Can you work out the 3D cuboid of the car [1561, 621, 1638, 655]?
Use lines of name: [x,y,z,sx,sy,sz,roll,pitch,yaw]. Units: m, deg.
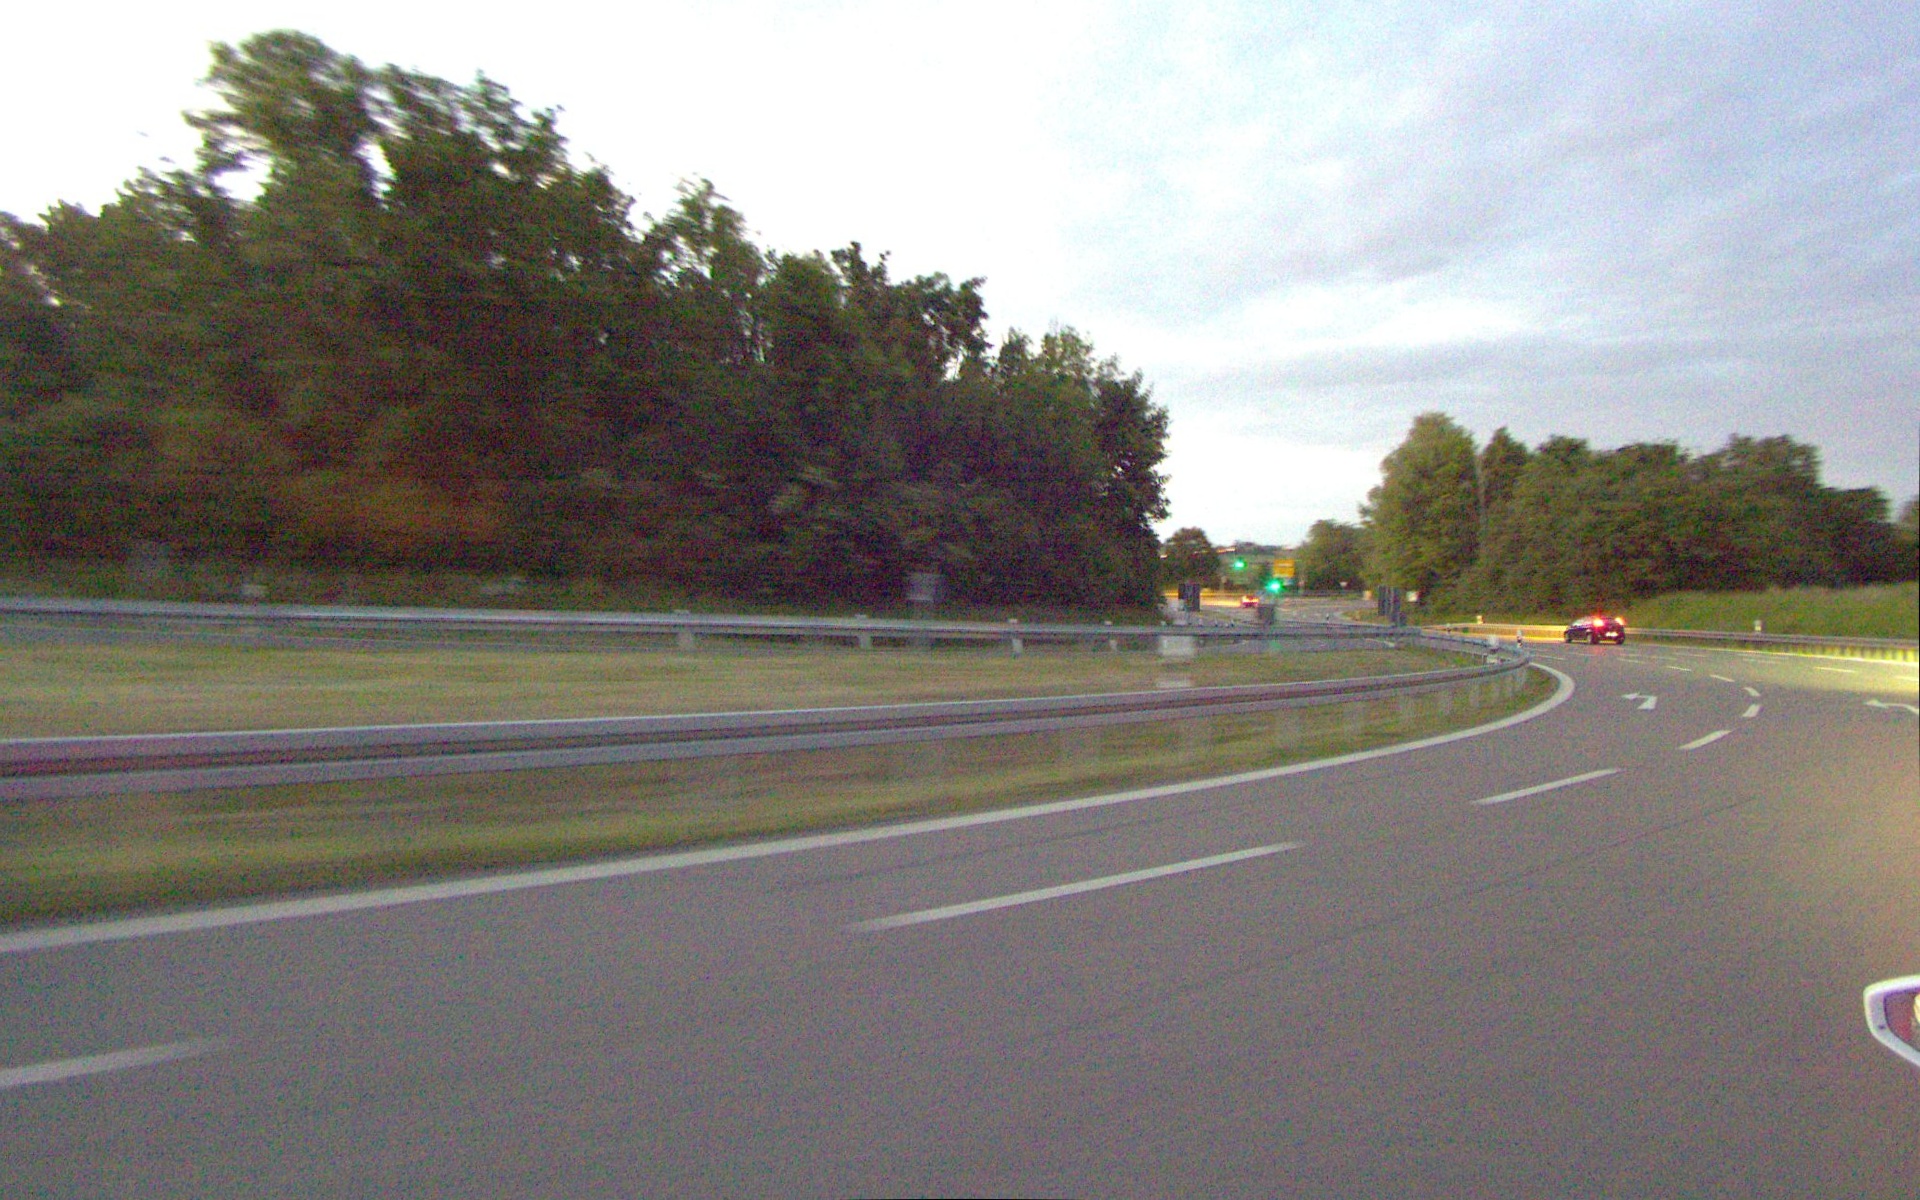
car: [34.508,2.028,54.365,1.959,1.619,4.002,2,0,8]
